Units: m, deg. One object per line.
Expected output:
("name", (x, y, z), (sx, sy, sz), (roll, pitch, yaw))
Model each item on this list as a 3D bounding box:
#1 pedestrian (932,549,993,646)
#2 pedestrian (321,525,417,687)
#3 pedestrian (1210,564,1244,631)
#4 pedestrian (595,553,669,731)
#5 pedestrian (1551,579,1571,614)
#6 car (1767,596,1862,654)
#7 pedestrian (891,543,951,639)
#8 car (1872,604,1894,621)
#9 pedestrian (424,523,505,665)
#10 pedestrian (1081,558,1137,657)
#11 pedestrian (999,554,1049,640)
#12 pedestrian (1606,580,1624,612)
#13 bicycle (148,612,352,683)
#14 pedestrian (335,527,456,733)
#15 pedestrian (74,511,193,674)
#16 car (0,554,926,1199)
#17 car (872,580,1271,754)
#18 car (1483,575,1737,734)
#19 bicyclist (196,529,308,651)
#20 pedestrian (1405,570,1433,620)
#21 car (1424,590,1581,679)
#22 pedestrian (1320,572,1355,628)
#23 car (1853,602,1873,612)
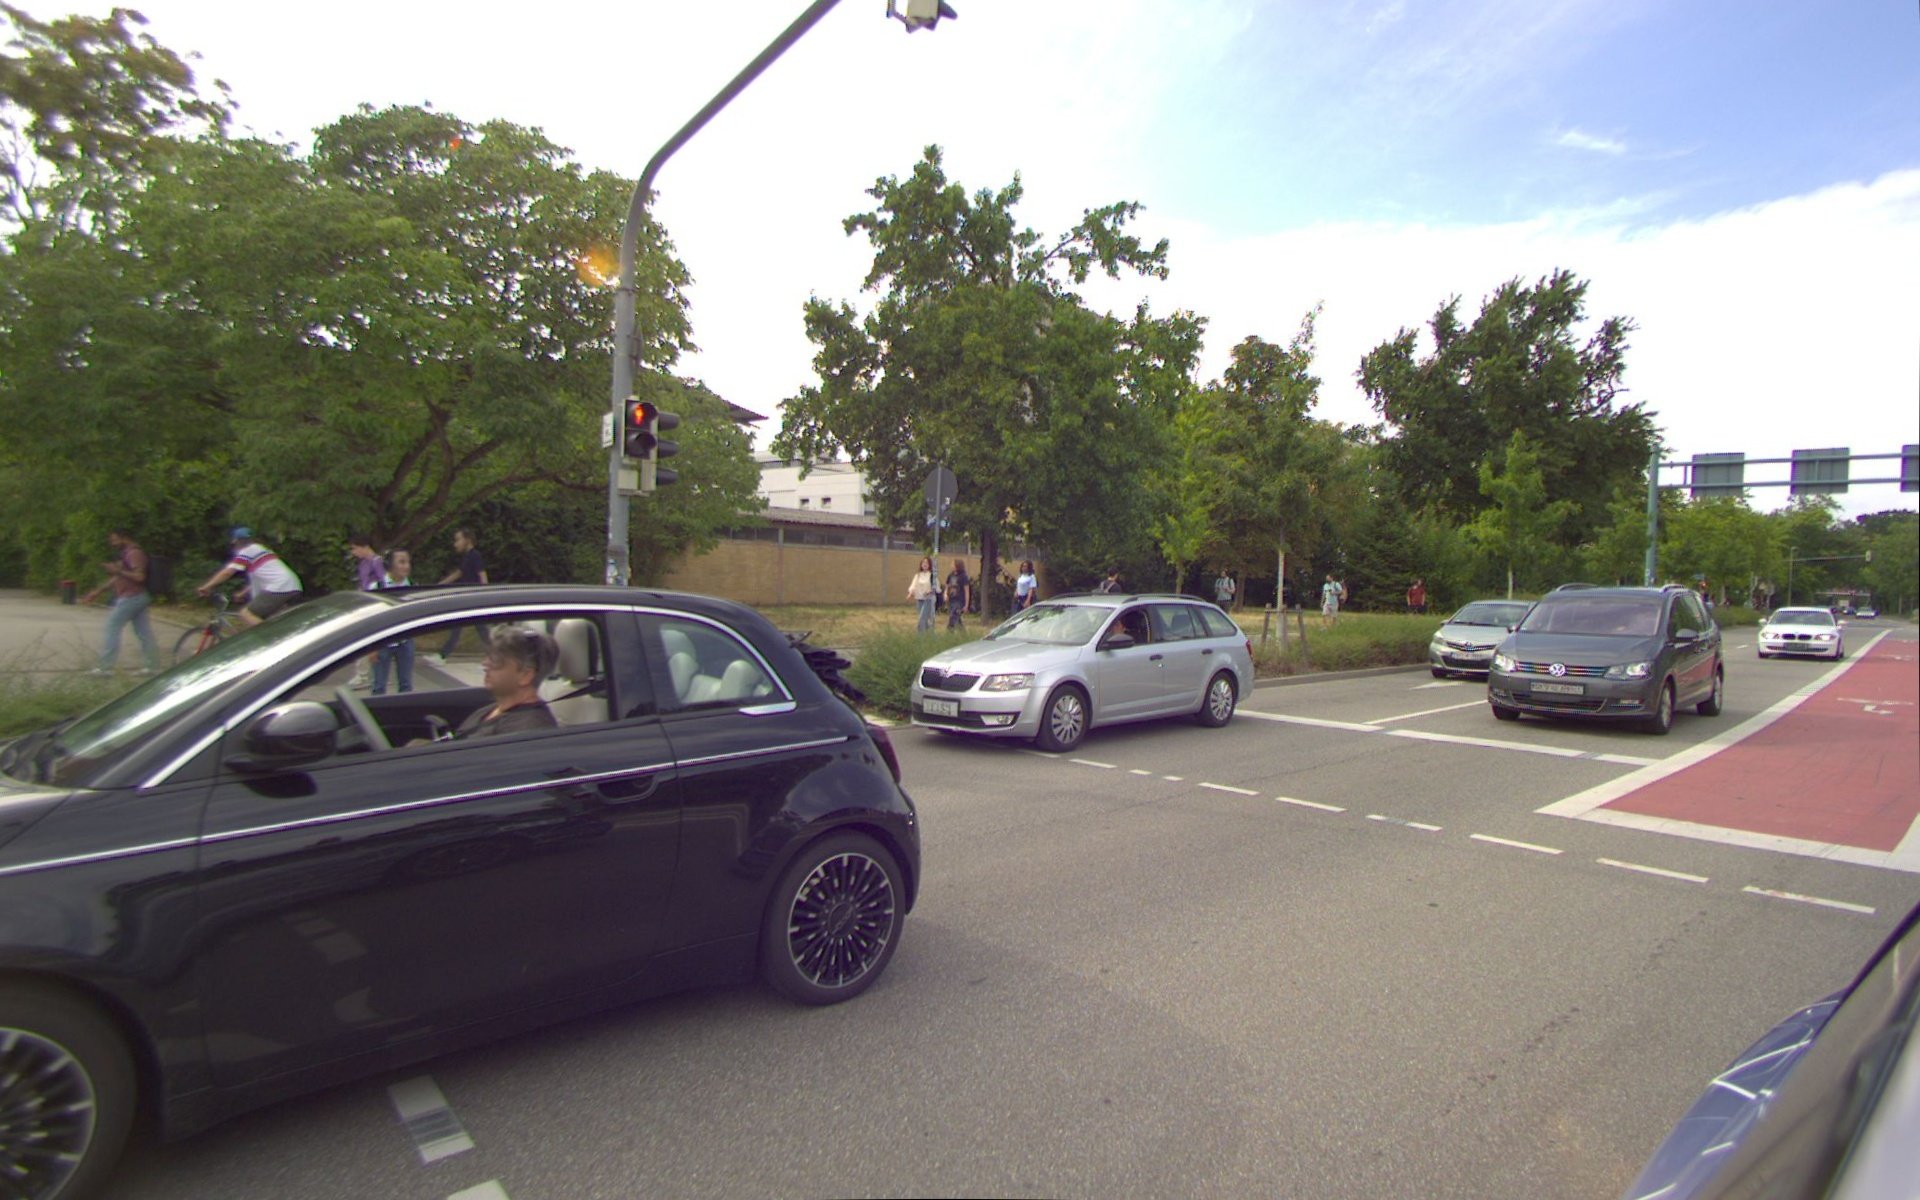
("pedestrian", (0.047, -0.049, 18.471), (0.832, 1.732, 0.791), (0, 0, 30))
("pedestrian", (-6.694, 0.060, 11.452), (0.786, 1.732, 0.838), (0, 0, -42))
("pedestrian", (7.076, -0.068, 26.788), (0.542, 1.716, 0.685), (4, 3, 41))
("pedestrian", (-3.312, 0.402, 10.231), (0.577, 1.732, 0.480), (0, 0, -40))
("pedestrian", (29.421, -0.179, 49.554), (0.712, 1.732, 0.684), (0, 0, 44))
("car", (23.739, 0.638, 28.068), (1.755, 1.476, 4.156), (0, 0, 44))
("pedestrian", (-0.720, -0.164, 18.899), (0.832, 1.732, 0.791), (0, 0, 30))
("car", (116.747, 1.598, 128.066), (1.992, 2.039, 3.939), (0, 0, 42))
("pedestrian", (-6.674, -0.085, 13.639), (0.786, 1.831, 0.838), (0, 0, -42))
("pedestrian", (2.667, 0.129, 18.149), (0.681, 1.732, 0.733), (0, 0, -42))
("pedestrian", (1.319, -0.064, 20.934), (0.711, 1.732, 0.788), (0, 0, 41))
("pedestrian", (36.504, -0.226, 56.425), (0.712, 1.732, 0.684), (0, 0, 44))
("bicycle", (-7.898, 0.498, 11.345), (1.810, 0.702, 0.844), (0, 0, -35))
("pedestrian", (-5.085, 0.248, 9.110), (0.825, 1.732, 0.799), (0, 0, -40))
("pedestrian", (-9.305, -0.086, 11.399), (0.996, 1.732, 0.838), (0, 0, -42))
("car", (-1.941, 0.638, 3.307), (3.381, 1.508, 1.669), (0, 1, -41))
("car", (1.362, 0.555, 10.875), (4.452, 1.493, 1.821), (0, 0, -43))
("car", (8.391, 0.550, 12.878), (4.609, 1.671, 1.756), (0, 0, -45))
("bicyclist", (-7.905, -0.115, 11.333), (0.993, 1.293, 0.840), (0, 0, -34))
("pedestrian", (16.139, -0.168, 35.588), (0.712, 1.732, 0.684), (0, 0, 44))
("car", (10.361, 0.568, 19.202), (1.666, 1.508, 3.814), (0, 0, 44))
("pedestrian", (11.831, -0.006, 31.724), (0.838, 1.732, 0.685), (0, 0, 41))
("car", (150.767, 1.226, 168.972), (3.932, 1.594, 1.996), (0, 0, -42))
